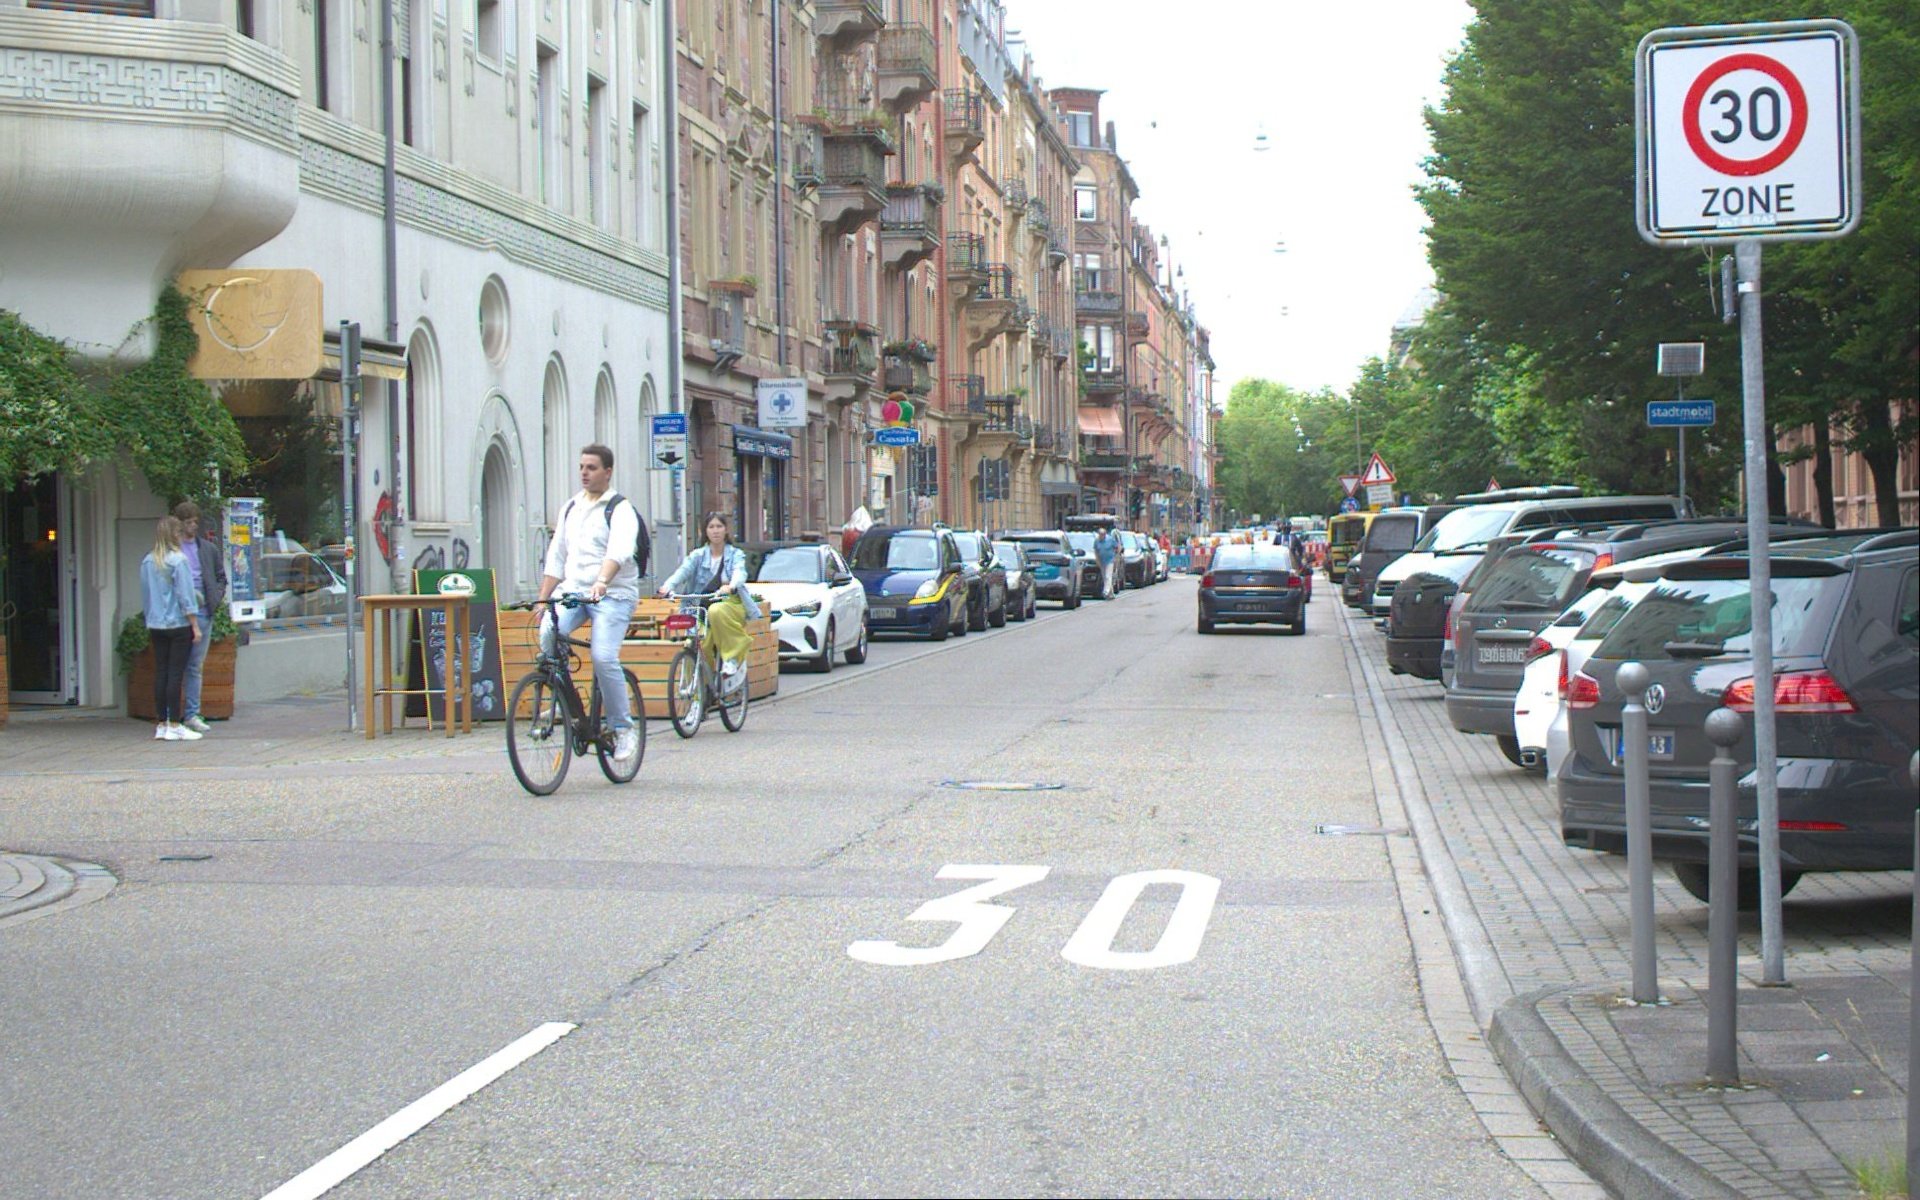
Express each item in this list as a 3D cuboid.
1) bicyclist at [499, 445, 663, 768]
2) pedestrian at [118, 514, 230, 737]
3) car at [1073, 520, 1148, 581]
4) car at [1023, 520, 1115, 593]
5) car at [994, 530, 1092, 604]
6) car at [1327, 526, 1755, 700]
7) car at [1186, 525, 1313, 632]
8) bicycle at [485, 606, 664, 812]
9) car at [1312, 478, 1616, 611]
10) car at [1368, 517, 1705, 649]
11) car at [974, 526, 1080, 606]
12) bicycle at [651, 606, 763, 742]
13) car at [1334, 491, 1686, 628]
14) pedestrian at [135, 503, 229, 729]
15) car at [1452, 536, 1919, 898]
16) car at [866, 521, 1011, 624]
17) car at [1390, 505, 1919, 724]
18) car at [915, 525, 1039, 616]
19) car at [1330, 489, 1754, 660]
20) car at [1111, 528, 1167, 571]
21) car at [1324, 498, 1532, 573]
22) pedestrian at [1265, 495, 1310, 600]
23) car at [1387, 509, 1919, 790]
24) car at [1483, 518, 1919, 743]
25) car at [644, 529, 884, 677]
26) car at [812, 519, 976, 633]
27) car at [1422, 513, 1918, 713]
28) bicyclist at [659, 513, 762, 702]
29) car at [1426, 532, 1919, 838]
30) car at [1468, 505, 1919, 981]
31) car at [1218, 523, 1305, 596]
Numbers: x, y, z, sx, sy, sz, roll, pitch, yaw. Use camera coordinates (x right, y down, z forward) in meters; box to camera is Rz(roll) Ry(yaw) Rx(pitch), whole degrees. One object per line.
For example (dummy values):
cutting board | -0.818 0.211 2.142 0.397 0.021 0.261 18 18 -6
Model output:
bicyclist | -2.224 0.031 20.235 0.782 1.860 0.714 -1 1 8
pedestrian | -5.912 0.189 25.878 0.579 1.655 0.575 -1 0 27
car | 4.456 -1.482 101.478 1.944 1.732 3.942 -1 1 6
car | 2.687 -1.059 83.968 1.944 1.736 3.942 0 1 6
car | 1.893 -0.757 77.409 1.944 1.611 3.942 0 1 5
car | 5.605 0.105 33.021 3.851 1.500 1.771 -2 1 -34
car | 4.737 -0.343 56.298 1.994 1.675 3.999 0 0 5
bicycle | -2.220 0.605 20.014 0.567 1.084 1.986 -1 1 7
car | 9.657 -1.065 65.940 5.385 2.365 1.951 -2 1 -15
car | 7.261 -0.221 43.253 3.850 1.500 1.771 -2 1 -28
car | 1.431 -0.739 72.096 1.944 1.611 3.942 -1 1 5
bicycle | -1.872 0.537 25.675 0.535 0.974 1.865 0 0 5
car | 8.785 -0.656 54.790 5.386 1.985 1.951 -2 1 -28
pedestrian | -6.013 0.121 26.580 0.578 1.728 0.506 0 0 -30
car | 4.301 0.459 16.120 3.554 1.493 1.846 -1 1 -29
car | -0.314 -0.464 56.050 1.944 1.611 3.942 0 1 6
car | 5.700 0.086 27.762 4.046 1.579 1.771 -2 1 -24
car | 0.347 -0.555 63.148 1.944 1.611 3.942 0 1 5
car | 7.962 -0.363 46.873 5.606 2.120 1.951 -2 1 -28
car | 6.459 -1.822 124.267 1.994 1.494 4.000 0 0 3
car | 12.850 -1.774 94.383 5.385 1.861 1.951 -2 1 -23
pedestrian | 6.723 -1.074 70.587 0.891 2.138 1.028 0 0 5
car | 4.961 0.255 21.773 4.046 1.579 1.904 -2 1 -25
car | 5.997 0.175 25.278 4.047 1.481 1.682 -2 1 -30
car | -2.166 0.003 39.094 1.945 1.548 3.816 -2 1 8
car | -0.921 -0.366 50.612 1.944 1.611 3.942 0 1 6
car | 6.282 0.089 30.364 4.046 1.579 1.771 -2 1 -28
bicyclist | -1.864 0.057 25.786 0.668 1.394 0.783 0 0 3
car | 4.806 0.426 19.139 3.972 1.538 1.876 0 1 -25
car | 4.328 0.394 13.452 4.273 1.573 1.864 -4 1 -27
car | 7.132 -0.932 81.509 1.994 1.675 3.999 0 0 5
